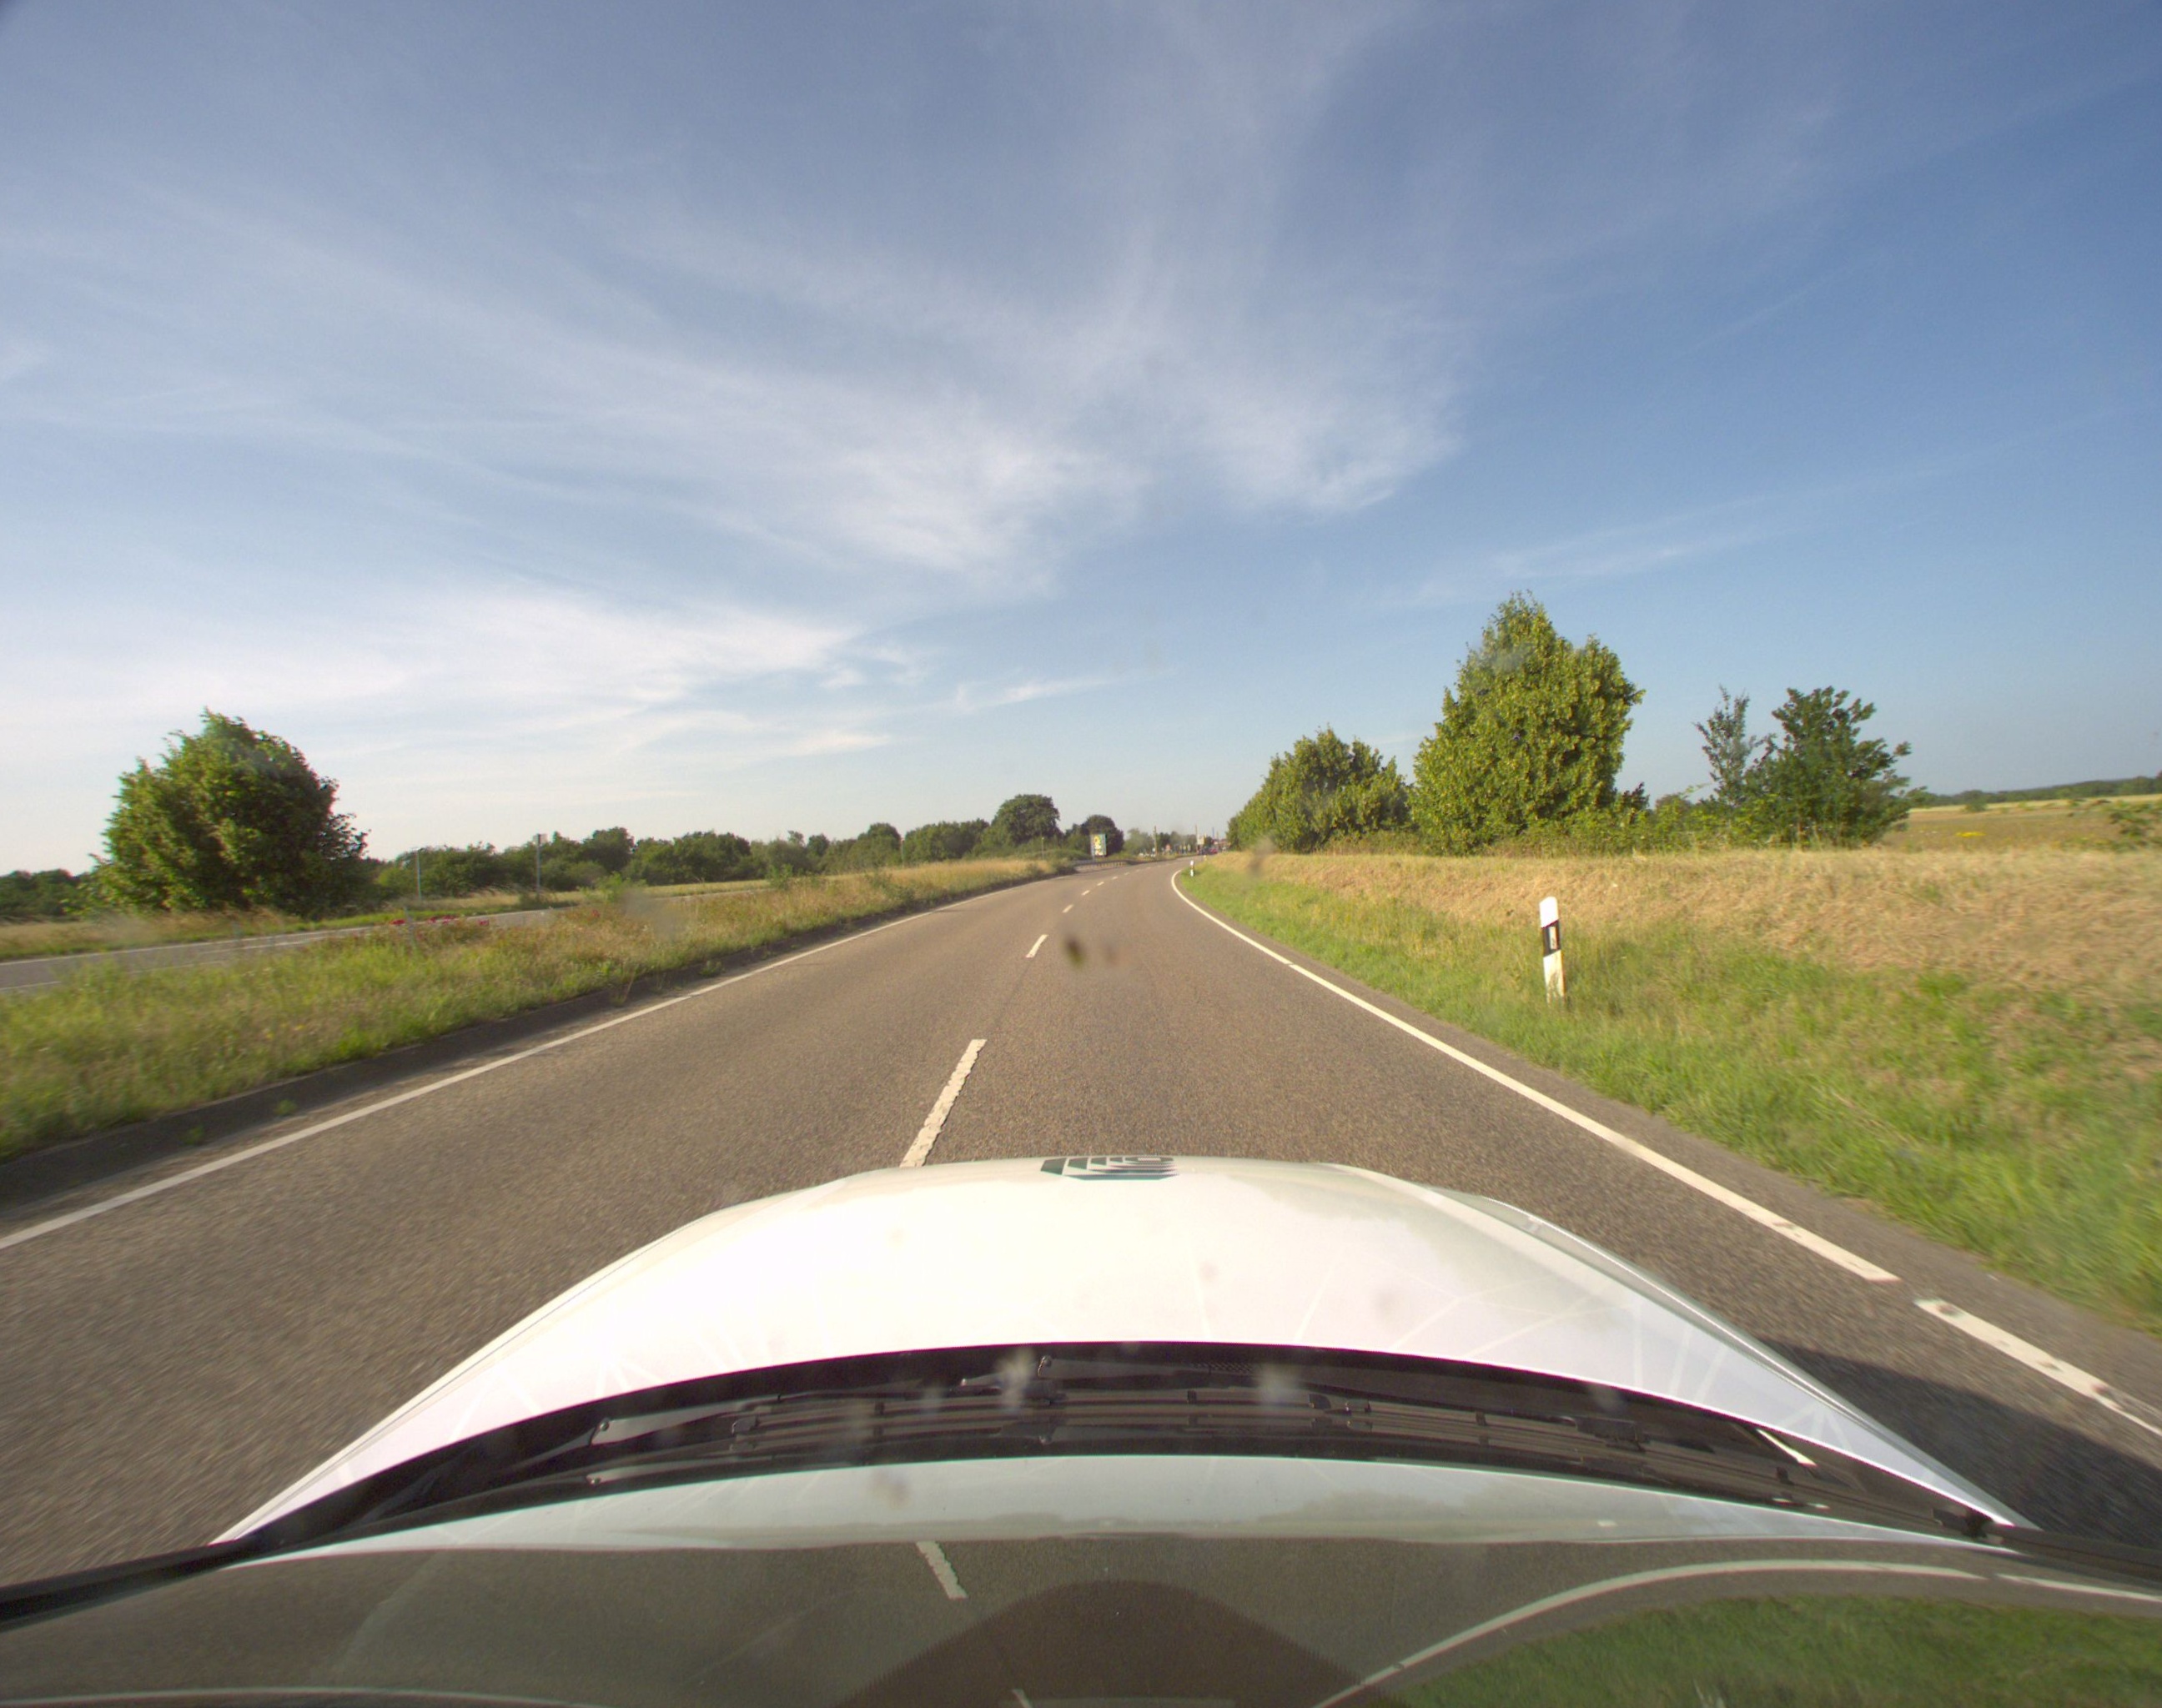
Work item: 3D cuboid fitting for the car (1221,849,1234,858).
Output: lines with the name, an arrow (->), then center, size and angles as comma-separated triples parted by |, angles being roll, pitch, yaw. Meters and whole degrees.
car -> 28.557, -0.108, 158.681 | 1.978, 1.552, 4.017 | -2, 0, 15

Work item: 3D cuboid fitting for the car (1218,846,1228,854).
car -> 39.717, -0.979, 227.807 | 1.978, 2.014, 4.858 | -3, -2, 18

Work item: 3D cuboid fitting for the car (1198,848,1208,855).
car -> 28.032, -0.646, 187.050 | 1.719, 1.456, 4.539 | -2, 0, 16

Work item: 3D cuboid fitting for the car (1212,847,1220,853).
car -> 34.934, -0.926, 210.556 | 1.756, 1.471, 4.032 | -2, 0, 15

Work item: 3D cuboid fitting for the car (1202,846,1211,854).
car -> 29.866, -0.920, 193.669 | 1.719, 1.855, 4.539 | -2, 0, 16
